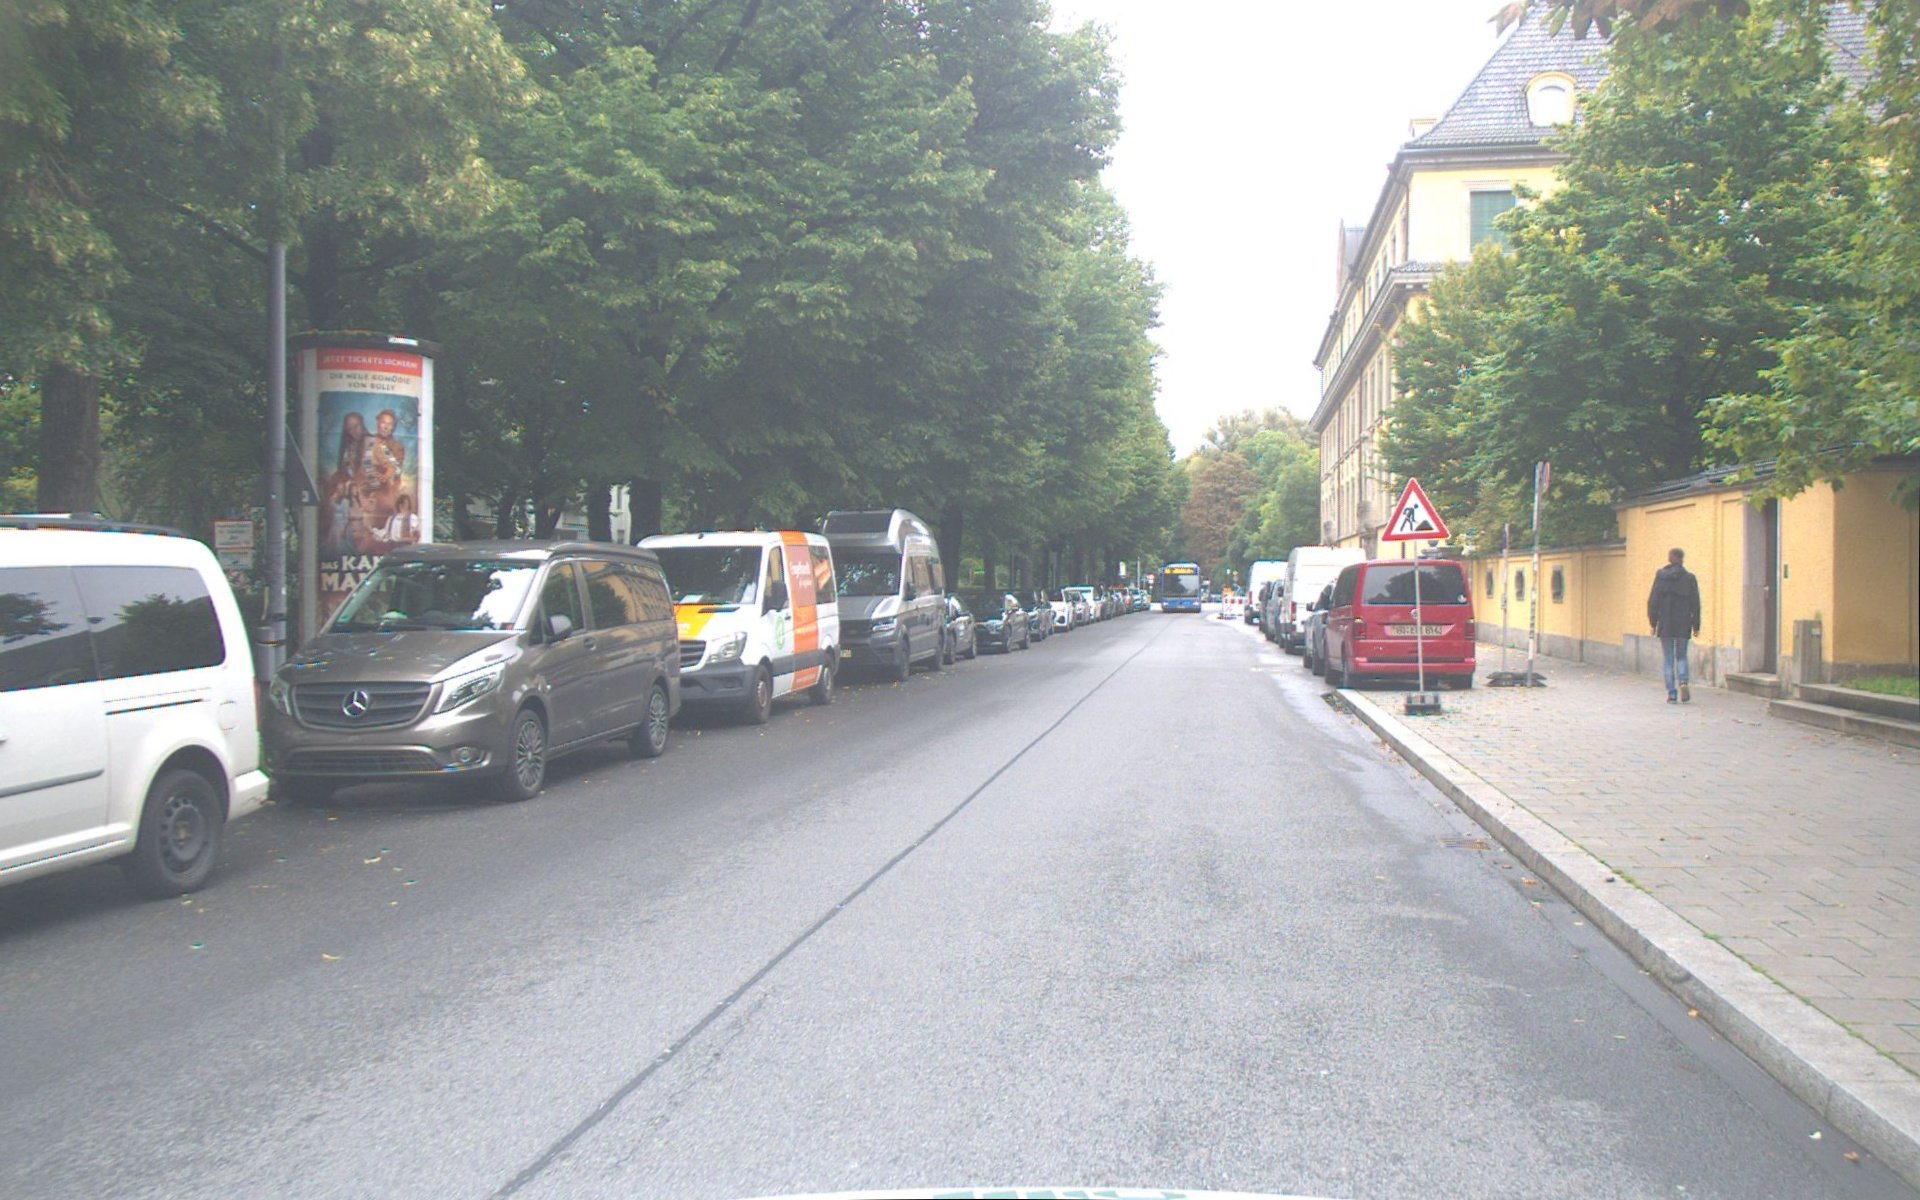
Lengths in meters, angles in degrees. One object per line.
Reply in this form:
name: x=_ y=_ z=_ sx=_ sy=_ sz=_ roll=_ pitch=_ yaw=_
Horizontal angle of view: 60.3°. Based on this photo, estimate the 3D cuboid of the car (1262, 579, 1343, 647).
car: x=9.994 y=0.345 z=48.503 sx=1.948 sy=1.876 sz=4.325 roll=-1 pitch=0 yaw=7

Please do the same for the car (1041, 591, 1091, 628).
car: x=4.544 y=0.385 z=70.641 sx=1.813 sy=1.499 sz=4.003 roll=0 pitch=0 yaw=8

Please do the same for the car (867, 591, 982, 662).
car: x=-0.702 y=0.525 z=35.638 sx=1.834 sy=1.441 sz=4.003 roll=0 pitch=0 yaw=8

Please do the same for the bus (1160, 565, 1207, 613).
bus: x=15.014 y=-0.727 z=110.270 sx=2.655 sy=2.950 sz=14.566 roll=0 pitch=0 yaw=9

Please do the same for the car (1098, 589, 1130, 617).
car: x=9.793 y=0.153 z=105.007 sx=1.813 sy=1.731 sz=4.003 roll=0 pitch=0 yaw=8

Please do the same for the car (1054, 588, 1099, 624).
car: x=5.402 y=0.263 z=76.296 sx=1.813 sy=1.591 sz=4.003 roll=0 pitch=0 yaw=8

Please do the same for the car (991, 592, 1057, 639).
car: x=2.156 y=0.489 z=54.744 sx=1.813 sy=1.499 sz=4.003 roll=0 pitch=0 yaw=8

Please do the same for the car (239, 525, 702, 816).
car: x=-3.769 y=0.479 z=13.915 sx=1.847 sy=1.967 sz=5.211 roll=-1 pitch=0 yaw=6

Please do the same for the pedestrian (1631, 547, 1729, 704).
pedestrian: x=8.832 y=0.299 z=20.327 sx=0.855 sy=1.863 sz=1.053 roll=0 pitch=0 yaw=9

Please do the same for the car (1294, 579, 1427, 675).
car: x=7.440 y=0.464 z=31.090 sx=1.948 sy=1.637 sz=4.325 roll=-1 pitch=0 yaw=7

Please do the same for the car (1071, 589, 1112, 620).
car: x=6.614 y=0.210 z=83.048 sx=1.813 sy=1.499 sz=4.003 roll=0 pitch=0 yaw=8

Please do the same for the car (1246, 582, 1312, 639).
car: x=11.018 y=0.352 z=57.384 sx=1.948 sy=1.876 sz=4.325 roll=-1 pitch=0 yaw=7

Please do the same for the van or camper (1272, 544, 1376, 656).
van or camper: x=9.024 y=-0.015 z=41.364 sx=2.086 sy=2.590 sz=5.247 roll=-1 pitch=0 yaw=8

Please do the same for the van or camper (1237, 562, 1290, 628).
van or camper: x=13.385 y=-0.234 z=73.113 sx=2.070 sy=2.780 sz=5.247 roll=-1 pitch=0 yaw=8

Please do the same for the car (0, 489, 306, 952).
car: x=-4.958 y=0.525 z=7.013 sx=1.790 sy=1.952 sz=4.853 roll=-1 pitch=0 yaw=9

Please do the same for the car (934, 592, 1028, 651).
car: x=0.567 y=0.497 z=41.066 sx=1.834 sy=1.371 sz=4.003 roll=0 pitch=0 yaw=8

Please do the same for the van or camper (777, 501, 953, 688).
van or camper: x=-1.561 y=-0.098 z=29.711 sx=1.958 sy=2.996 sz=6.015 roll=-1 pitch=0 yaw=8

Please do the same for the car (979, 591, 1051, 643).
car: x=1.685 y=0.480 z=49.648 sx=1.813 sy=1.499 sz=4.003 roll=0 pitch=0 yaw=7

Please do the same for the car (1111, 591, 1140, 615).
car: x=11.363 y=0.195 z=113.604 sx=1.813 sy=1.599 sz=4.003 roll=0 pitch=0 yaw=8

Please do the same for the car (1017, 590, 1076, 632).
car: x=3.194 y=0.387 z=60.611 sx=1.813 sy=1.499 sz=4.003 roll=0 pitch=0 yaw=8

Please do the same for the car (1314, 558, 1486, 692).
car: x=6.754 y=0.344 z=25.868 sx=1.948 sy=1.871 sz=4.717 roll=-1 pitch=0 yaw=7

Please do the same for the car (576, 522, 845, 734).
car: x=-2.945 y=0.304 z=20.860 sx=1.905 sy=2.312 sz=5.247 roll=-1 pitch=0 yaw=8

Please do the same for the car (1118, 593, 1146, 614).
car: x=12.444 y=0.237 z=119.525 sx=1.813 sy=1.499 sz=4.003 roll=0 pitch=0 yaw=8
